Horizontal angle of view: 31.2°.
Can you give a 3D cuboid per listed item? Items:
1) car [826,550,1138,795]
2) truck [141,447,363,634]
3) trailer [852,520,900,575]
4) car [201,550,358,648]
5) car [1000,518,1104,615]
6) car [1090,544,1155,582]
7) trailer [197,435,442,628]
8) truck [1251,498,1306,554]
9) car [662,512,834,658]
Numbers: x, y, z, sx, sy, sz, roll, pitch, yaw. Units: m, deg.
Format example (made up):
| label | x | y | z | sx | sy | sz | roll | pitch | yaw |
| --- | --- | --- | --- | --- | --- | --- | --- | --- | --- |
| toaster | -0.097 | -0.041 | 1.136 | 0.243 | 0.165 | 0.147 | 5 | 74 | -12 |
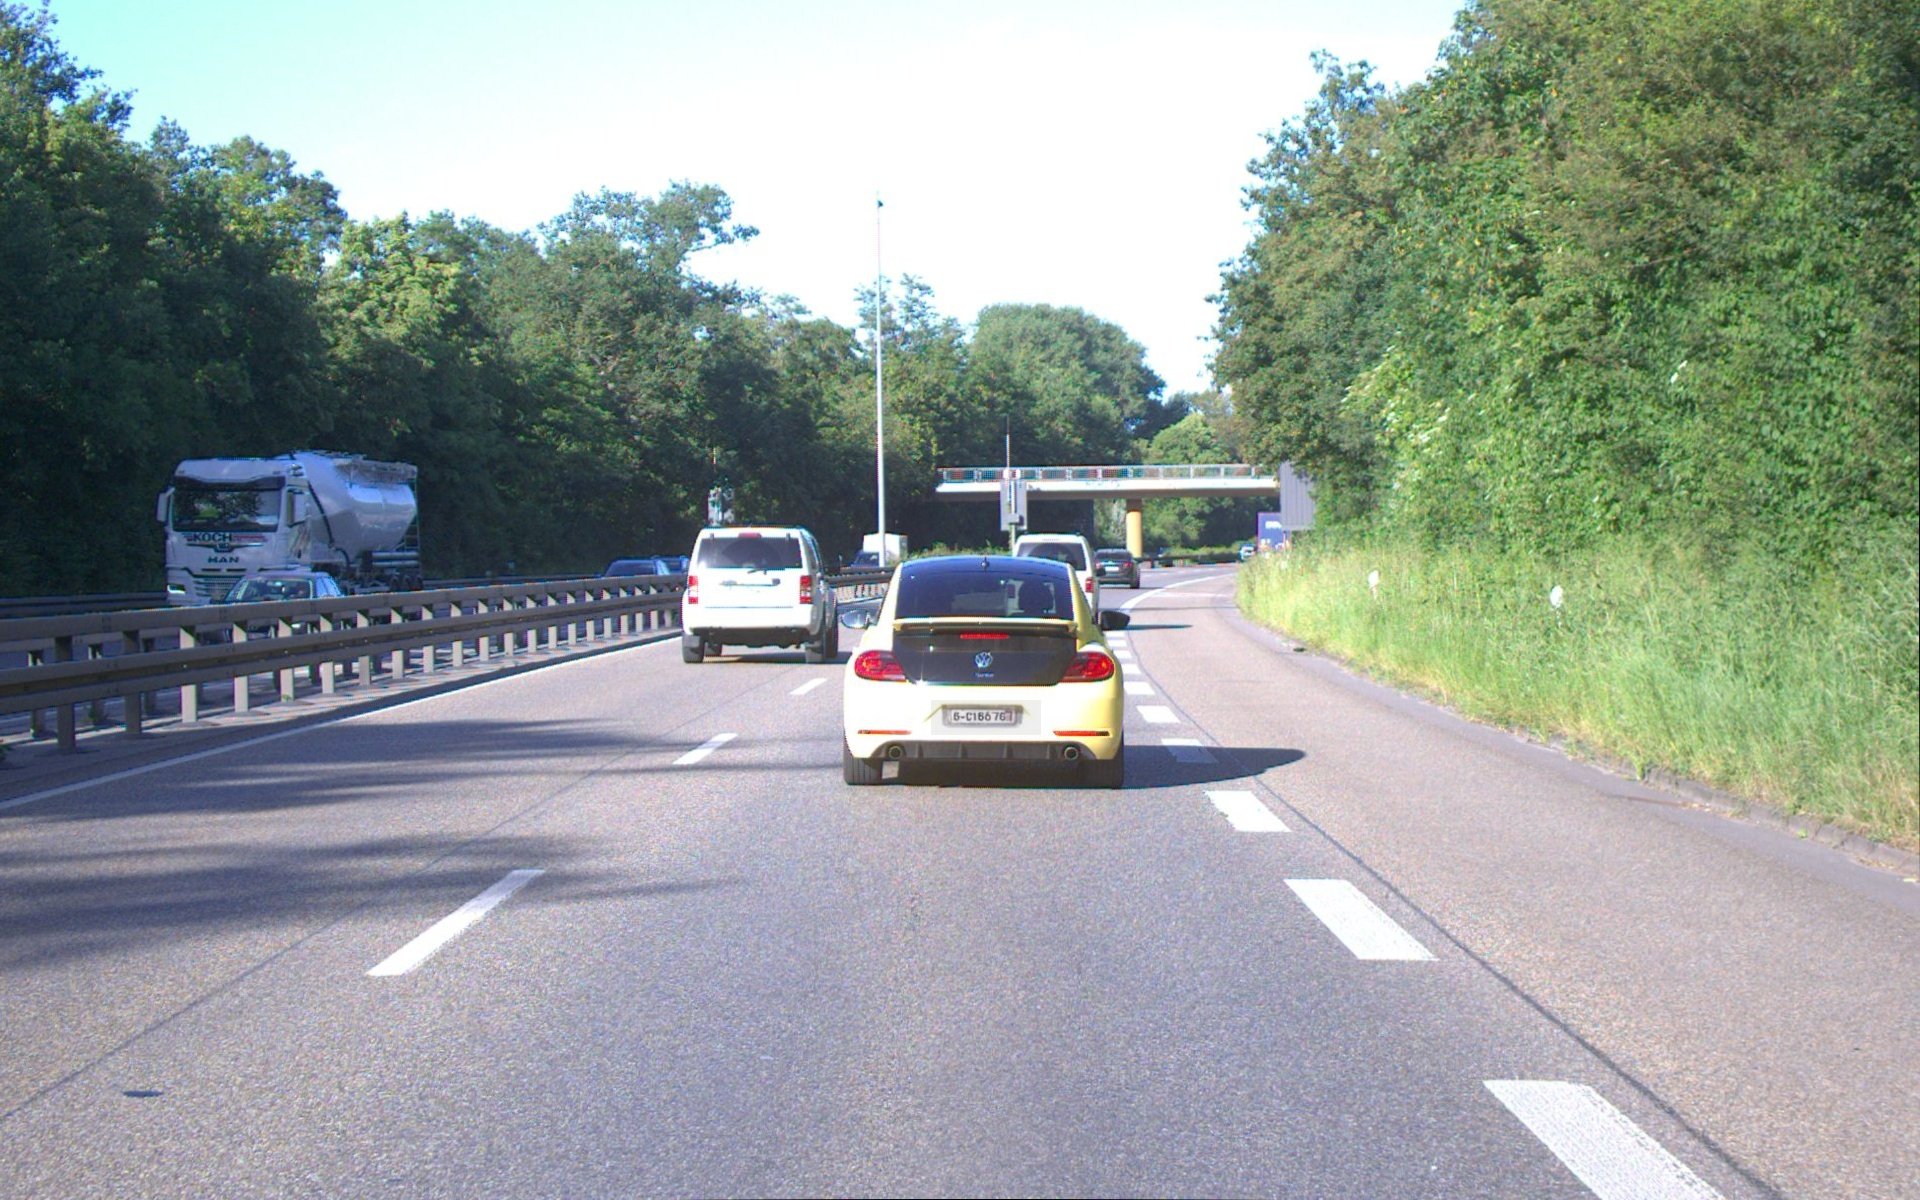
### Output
| label | x | y | z | sx | sy | sz | roll | pitch | yaw |
| --- | --- | --- | --- | --- | --- | --- | --- | --- | --- |
| car | 0.092 | 0.411 | 23.126 | 1.879 | 1.456 | 4.356 | 1 | 1 | -1 |
| truck | -14.428 | -1.221 | 70.551 | 2.981 | 3.618 | 6.155 | -1 | 1 | 3 |
| trailer | -3.802 | -2.412 | 156.121 | 1.993 | 2.429 | 4.607 | -1 | 1 | 1 |
| car | -10.810 | -0.049 | 54.826 | 1.666 | 1.462 | 4.092 | -1 | 1 | 0 |
| car | 1.791 | -0.657 | 65.815 | 1.864 | 1.764 | 4.469 | -1 | 1 | 3 |
| car | 6.138 | -1.393 | 129.443 | 1.994 | 1.393 | 3.999 | 0 | 1 | 9 |
| trailer | -14.224 | -1.525 | 77.367 | 3.053 | 3.983 | 10.972 | -1 | 1 | 2 |
| truck | 24.296 | -5.612 | 262.082 | 3.497 | 4.158 | 8.858 | -1 | 1 | 10 |
| car | -2.762 | -0.221 | 45.573 | 2.085 | 1.822 | 4.000 | -1 | 1 | -1 |
